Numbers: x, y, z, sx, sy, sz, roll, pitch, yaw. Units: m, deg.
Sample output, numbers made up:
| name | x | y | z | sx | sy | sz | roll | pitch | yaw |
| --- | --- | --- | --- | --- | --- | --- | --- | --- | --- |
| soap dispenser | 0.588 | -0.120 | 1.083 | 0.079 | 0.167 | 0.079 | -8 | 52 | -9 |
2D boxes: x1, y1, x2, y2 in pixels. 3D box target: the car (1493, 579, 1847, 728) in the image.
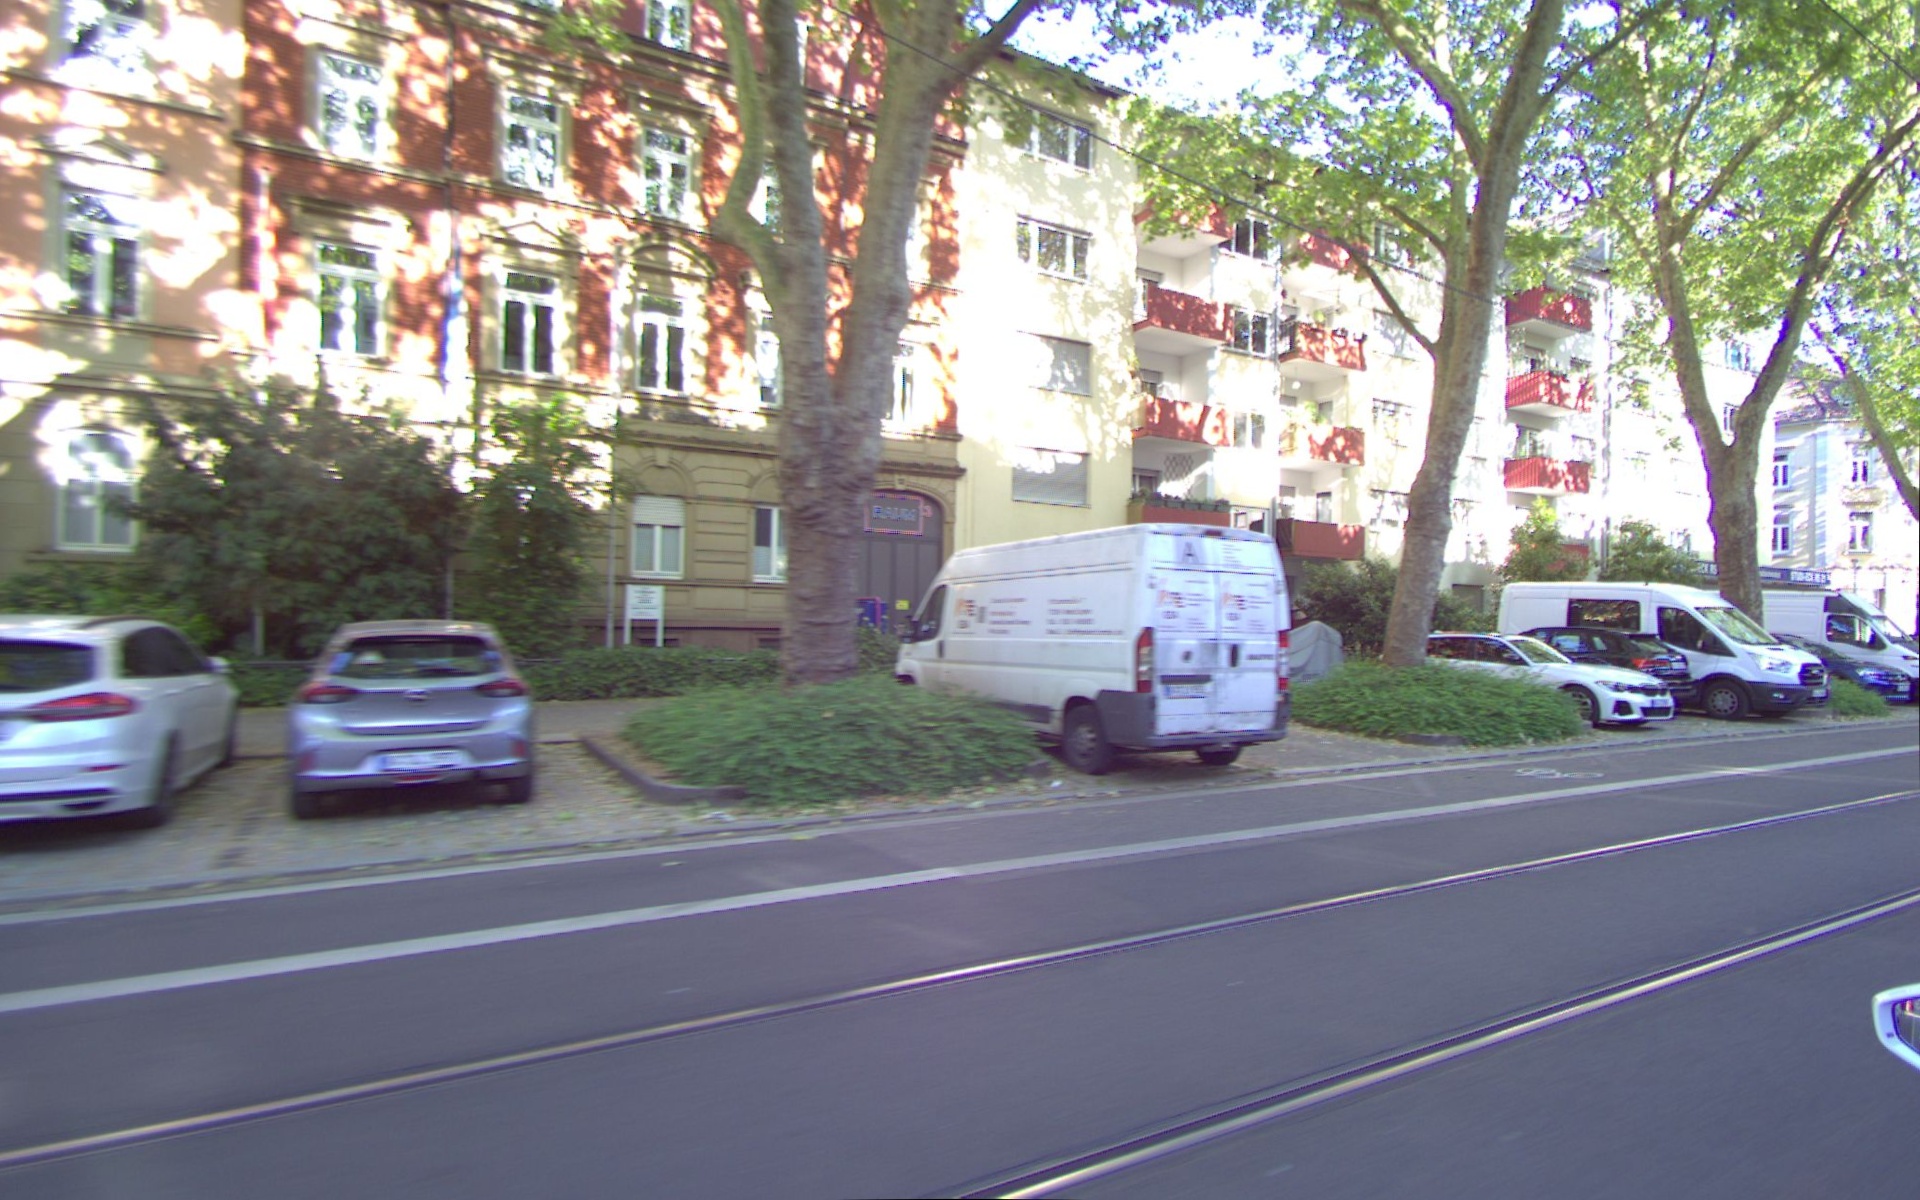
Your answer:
| name | x | y | z | sx | sy | sz | roll | pitch | yaw |
| --- | --- | --- | --- | --- | --- | --- | --- | --- | --- |
| car | 13.598 | 0.946 | 19.677 | 2.032 | 2.510 | 5.337 | 1 | -1 | -29 |

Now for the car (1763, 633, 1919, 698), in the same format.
| name | x | y | z | sx | sy | sz | roll | pitch | yaw |
| --- | --- | --- | --- | --- | --- | --- | --- | --- | --- |
| car | 23.120 | 1.627 | 25.550 | 1.839 | 1.498 | 3.836 | 1 | -1 | -30 |

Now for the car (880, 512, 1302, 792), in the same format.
| name | x | y | z | sx | sy | sz | roll | pitch | yaw |
| --- | --- | --- | --- | --- | --- | --- | --- | --- | --- |
| car | 1.186 | 0.493 | 12.277 | 2.136 | 2.570 | 5.715 | 1 | 0 | -29 |

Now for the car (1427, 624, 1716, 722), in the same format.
| name | x | y | z | sx | sy | sz | roll | pitch | yaw |
| --- | --- | --- | --- | --- | --- | --- | --- | --- | --- |
| car | 11.426 | 1.284 | 19.104 | 1.850 | 1.559 | 4.351 | 1 | -1 | -29 |

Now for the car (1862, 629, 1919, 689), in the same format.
| name | x | y | z | sx | sy | sz | roll | pitch | yaw |
| --- | --- | --- | --- | --- | --- | --- | --- | --- | --- |
| car | 28.281 | 1.708 | 28.275 | 1.872 | 1.669 | 3.967 | 1 | -1 | -31 |

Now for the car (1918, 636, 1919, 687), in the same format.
| name | x | y | z | sx | sy | sz | roll | pitch | yaw |
| --- | --- | --- | --- | --- | --- | --- | --- | --- | --- |
| car | 30.798 | 1.874 | 29.203 | 1.751 | 1.542 | 3.967 | 1 | -1 | -30 |

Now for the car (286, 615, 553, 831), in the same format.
| name | x | y | z | sx | sy | sz | roll | pitch | yaw |
| --- | --- | --- | --- | --- | --- | --- | --- | --- | --- |
| car | -4.730 | 0.889 | 8.973 | 1.683 | 1.451 | 3.794 | 1 | -1 | -27 |

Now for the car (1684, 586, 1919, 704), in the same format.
| name | x | y | z | sx | sy | sz | roll | pitch | yaw |
| --- | --- | --- | --- | --- | --- | --- | --- | --- | --- |
| car | 20.872 | 1.038 | 24.434 | 2.060 | 2.601 | 4.916 | 1 | -1 | -32 |

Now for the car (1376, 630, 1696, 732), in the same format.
| name | x | y | z | sx | sy | sz | roll | pitch | yaw |
| --- | --- | --- | --- | --- | --- | --- | --- | --- | --- |
| car | 9.584 | 1.269 | 17.113 | 1.910 | 1.403 | 4.390 | 1 | -1 | -29 |

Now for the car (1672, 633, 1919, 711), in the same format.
| name | x | y | z | sx | sy | sz | roll | pitch | yaw |
| --- | --- | --- | --- | --- | --- | --- | --- | --- | --- |
| car | 18.815 | 1.548 | 22.740 | 1.849 | 1.485 | 4.002 | 1 | -1 | -29 |

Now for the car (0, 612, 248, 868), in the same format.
| name | x | y | z | sx | sy | sz | roll | pitch | yaw |
| --- | --- | --- | --- | --- | --- | --- | --- | --- | --- |
| car | -6.854 | 0.864 | 7.682 | 1.808 | 1.516 | 3.970 | 1 | -1 | -29 |
